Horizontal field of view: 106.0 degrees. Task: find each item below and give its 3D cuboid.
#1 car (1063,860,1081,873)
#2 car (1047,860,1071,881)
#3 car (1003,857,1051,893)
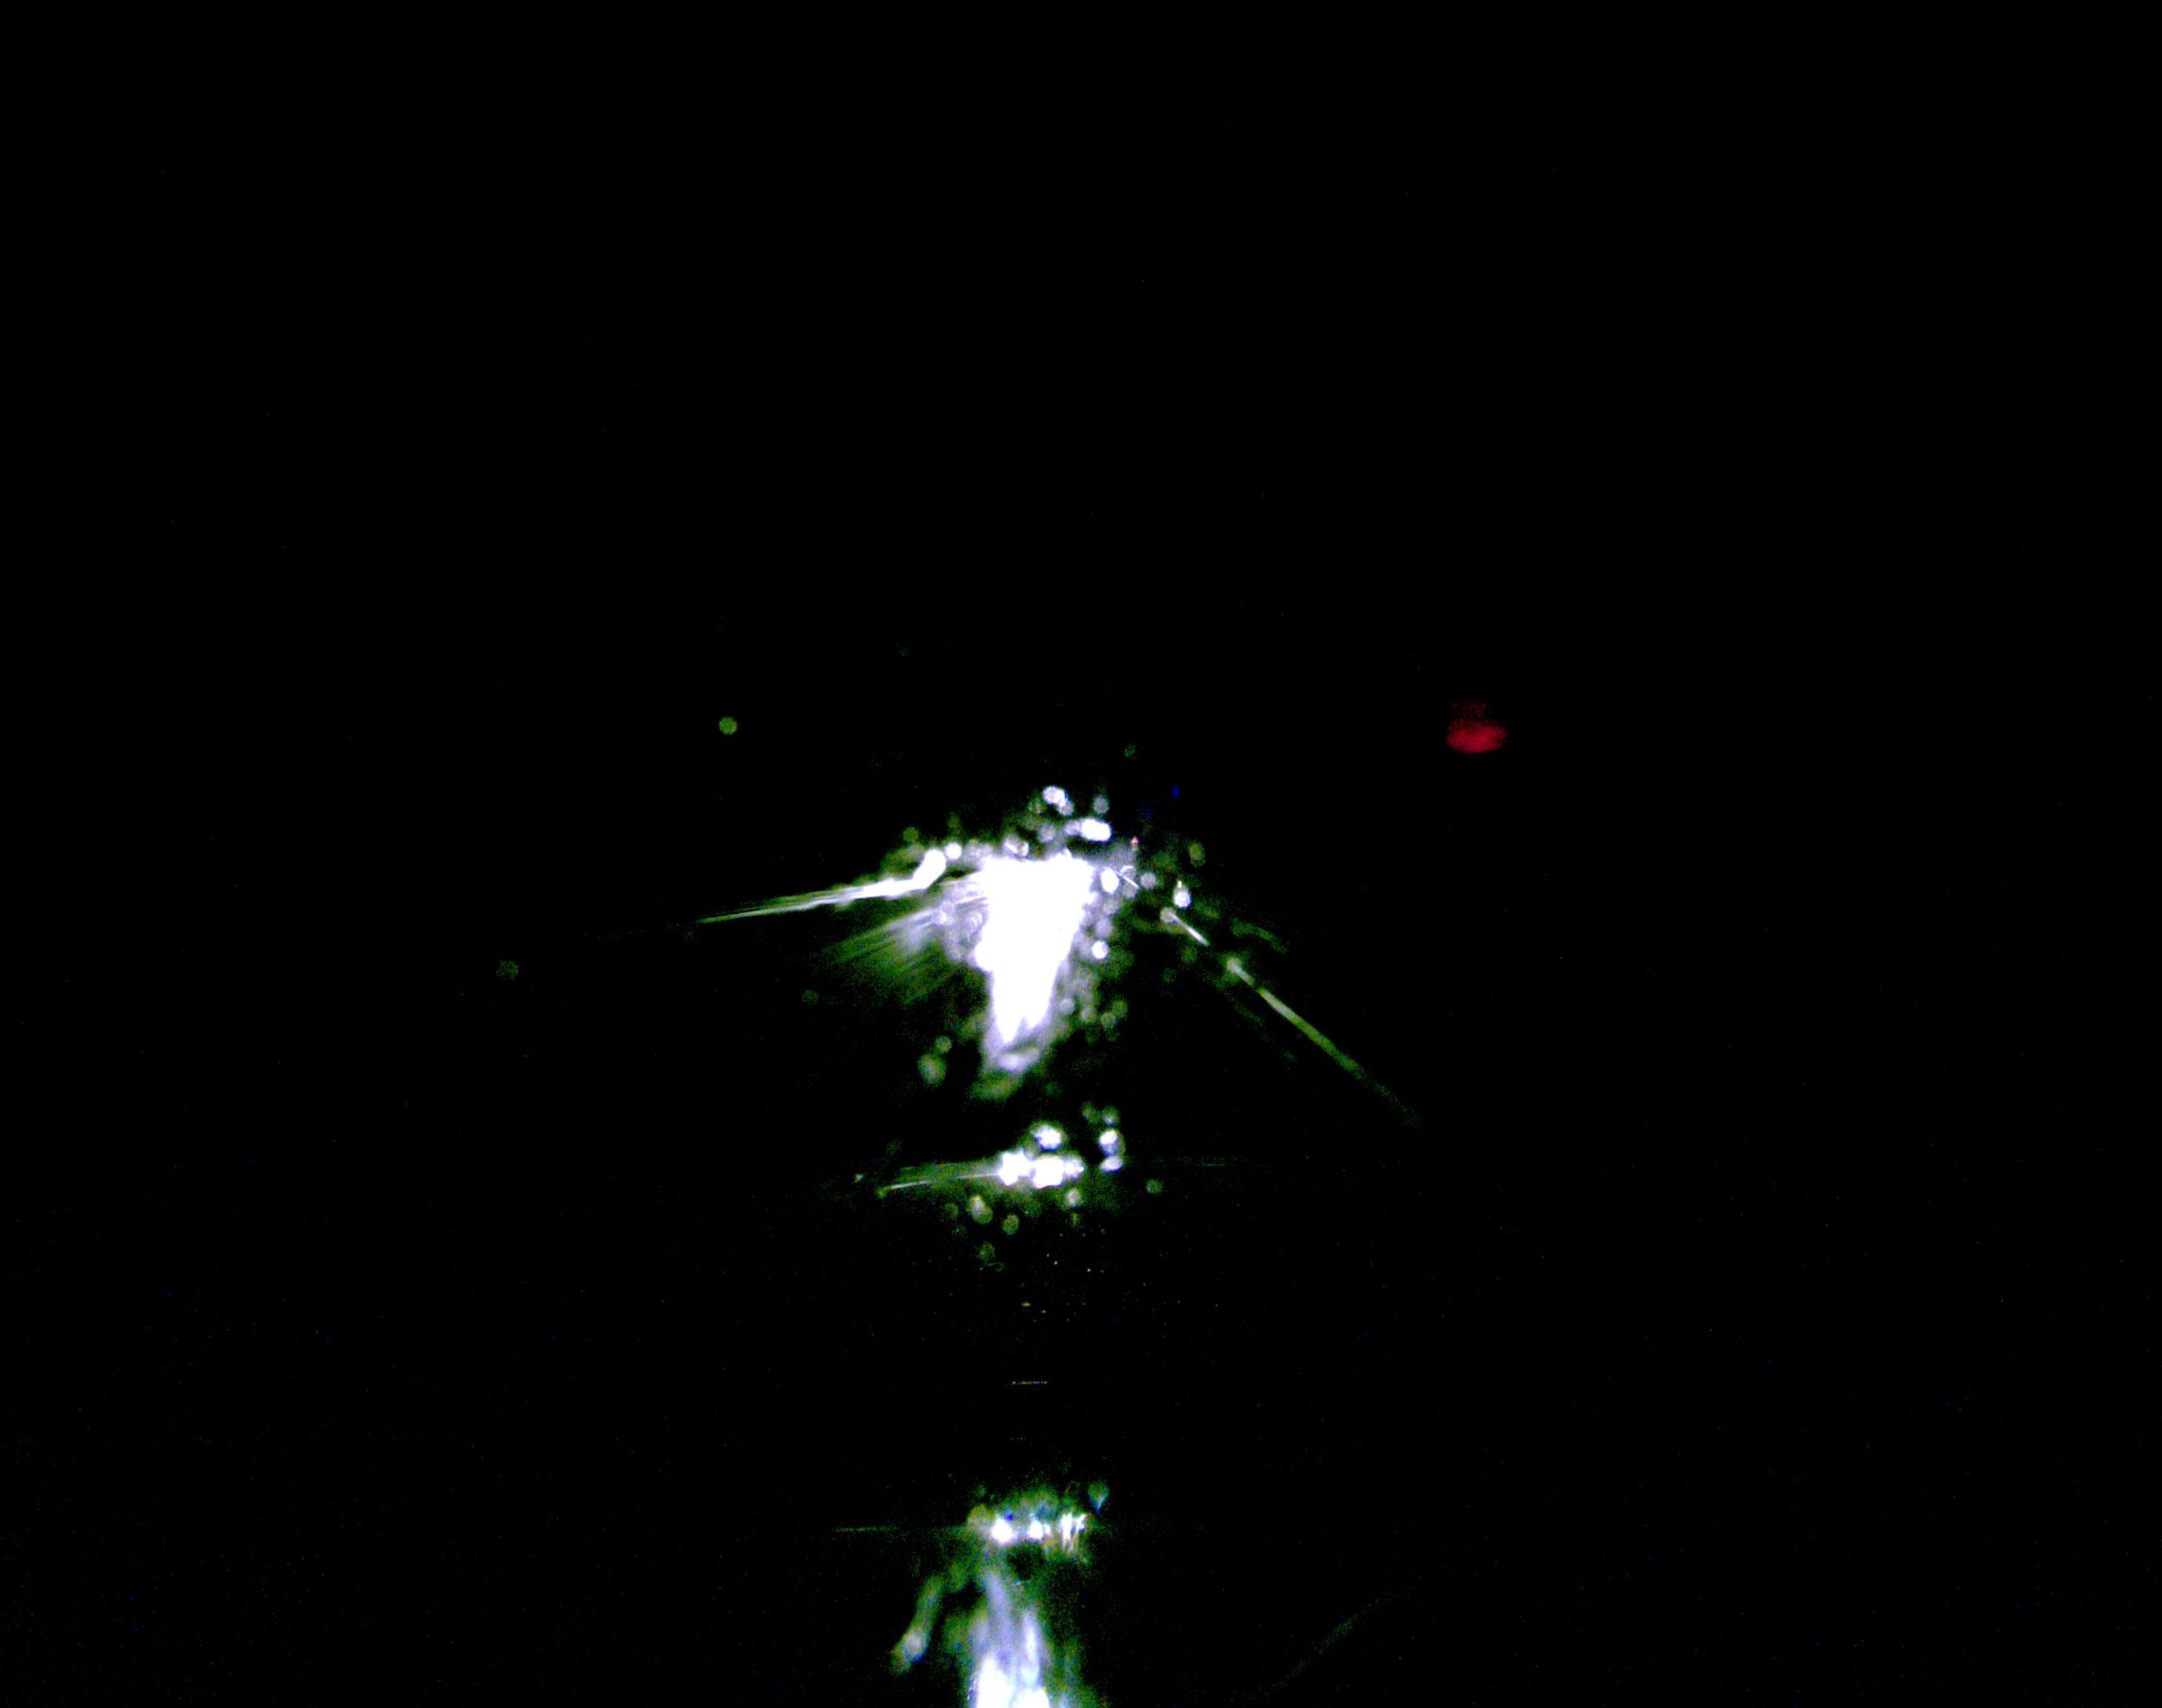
[{"bbox_3d":[-1.128,1.551,100.754,1.986,1.497,4.358,-1,0,2],"label":"car"},{"bbox_3d":[-1.691,1.268,63.476,1.710,1.554,3.999,-1,0,0],"label":"car"},{"bbox_3d":[-2.412,0.931,37.379,1.823,1.554,4.442,0,0,1],"label":"car"}]
